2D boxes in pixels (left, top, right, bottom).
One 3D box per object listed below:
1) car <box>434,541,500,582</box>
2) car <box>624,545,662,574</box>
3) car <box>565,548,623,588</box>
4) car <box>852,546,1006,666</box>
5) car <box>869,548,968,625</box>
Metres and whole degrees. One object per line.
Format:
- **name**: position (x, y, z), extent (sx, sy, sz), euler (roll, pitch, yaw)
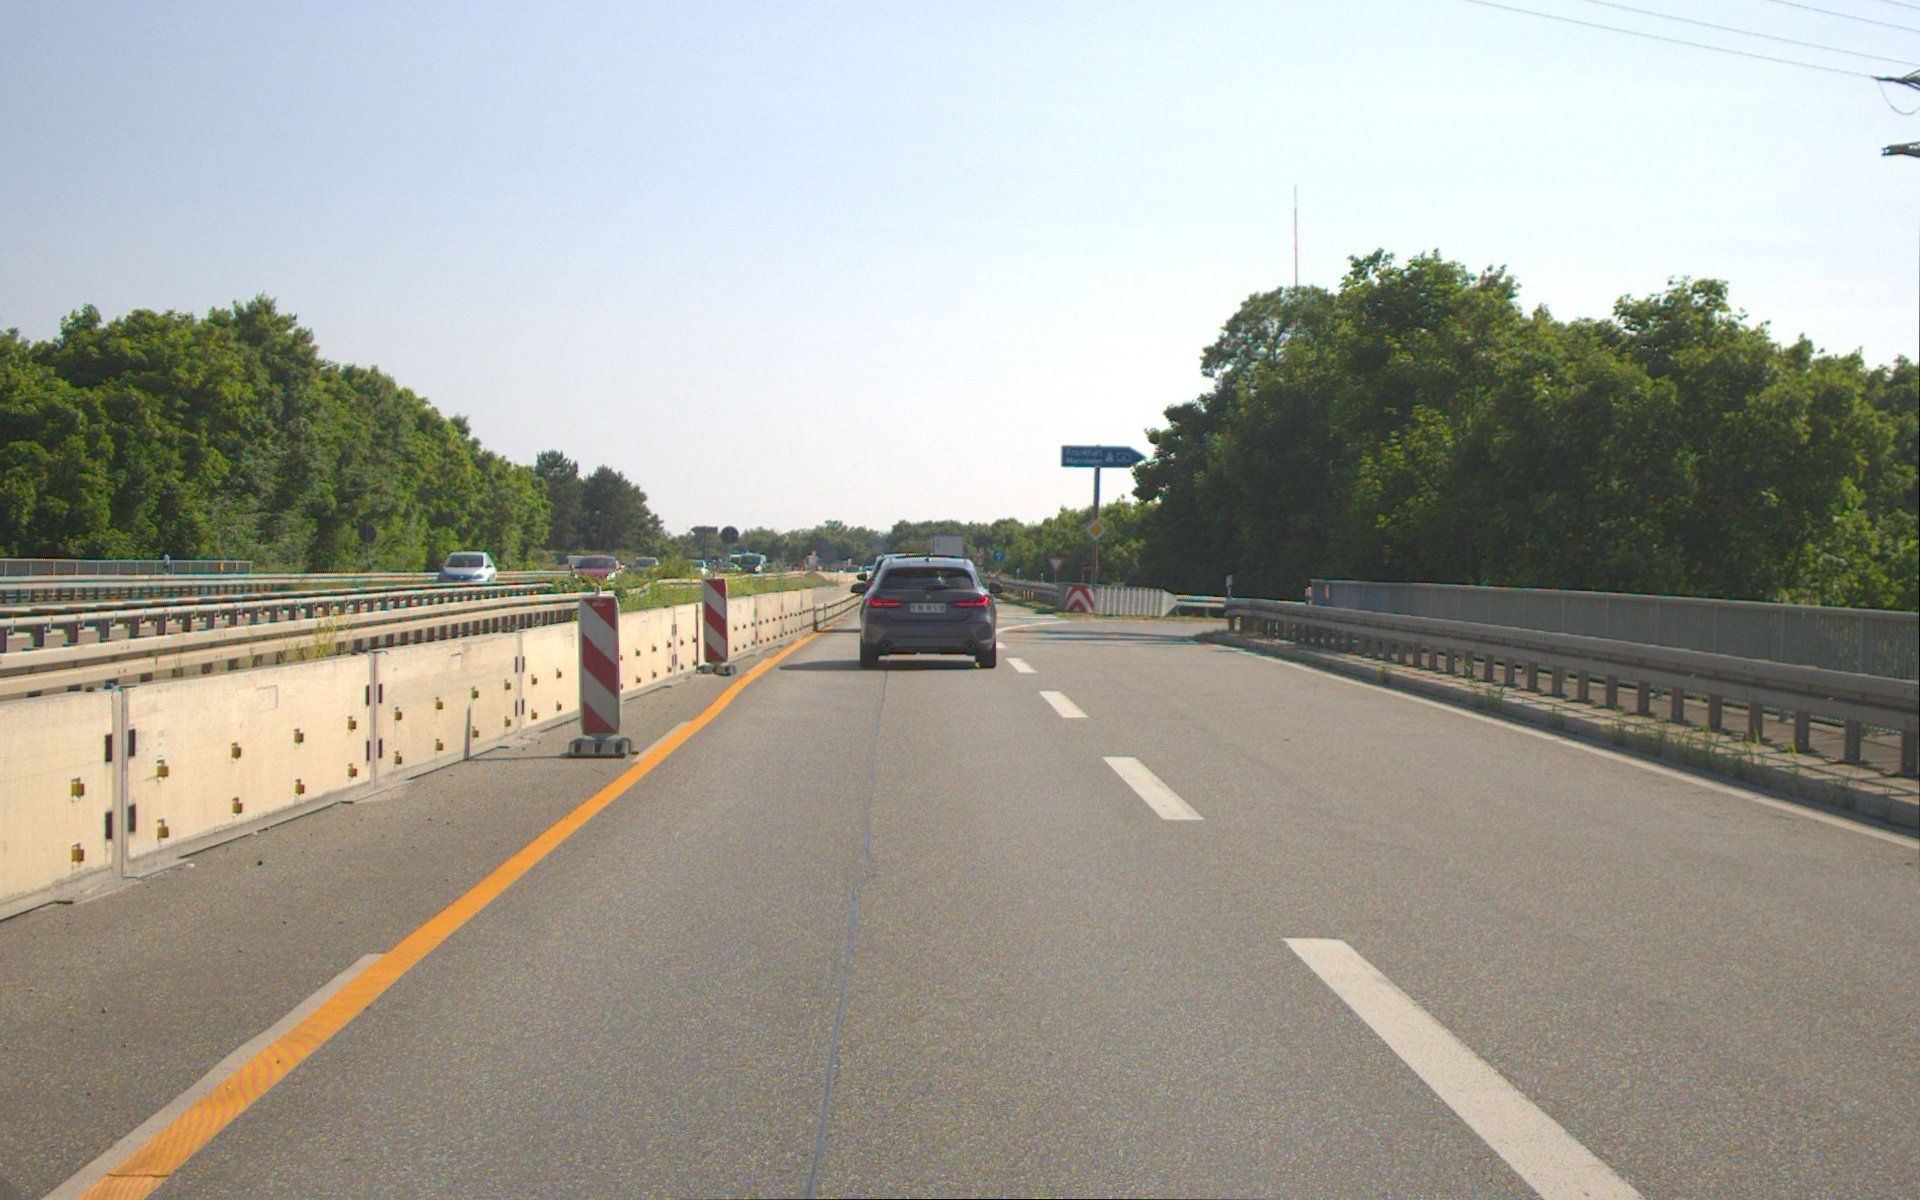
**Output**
- **car**: position (-17.294, -1.363, 120.813), extent (1.777, 1.388, 4.126), euler (-1, 1, -1)
- **car**: position (-18.153, -2.316, 196.952), extent (1.763, 1.577, 4.422), euler (0, 1, 0)
- **car**: position (-13.166, -1.161, 123.786), extent (1.714, 1.392, 4.221), euler (1, 1, -1)
- **car**: position (-0.456, 0.048, 45.789), extent (1.920, 1.488, 4.000), euler (1, 1, -2)
- **car**: position (-0.844, -0.299, 71.318), extent (1.993, 1.561, 4.000), euler (0, 1, 0)
